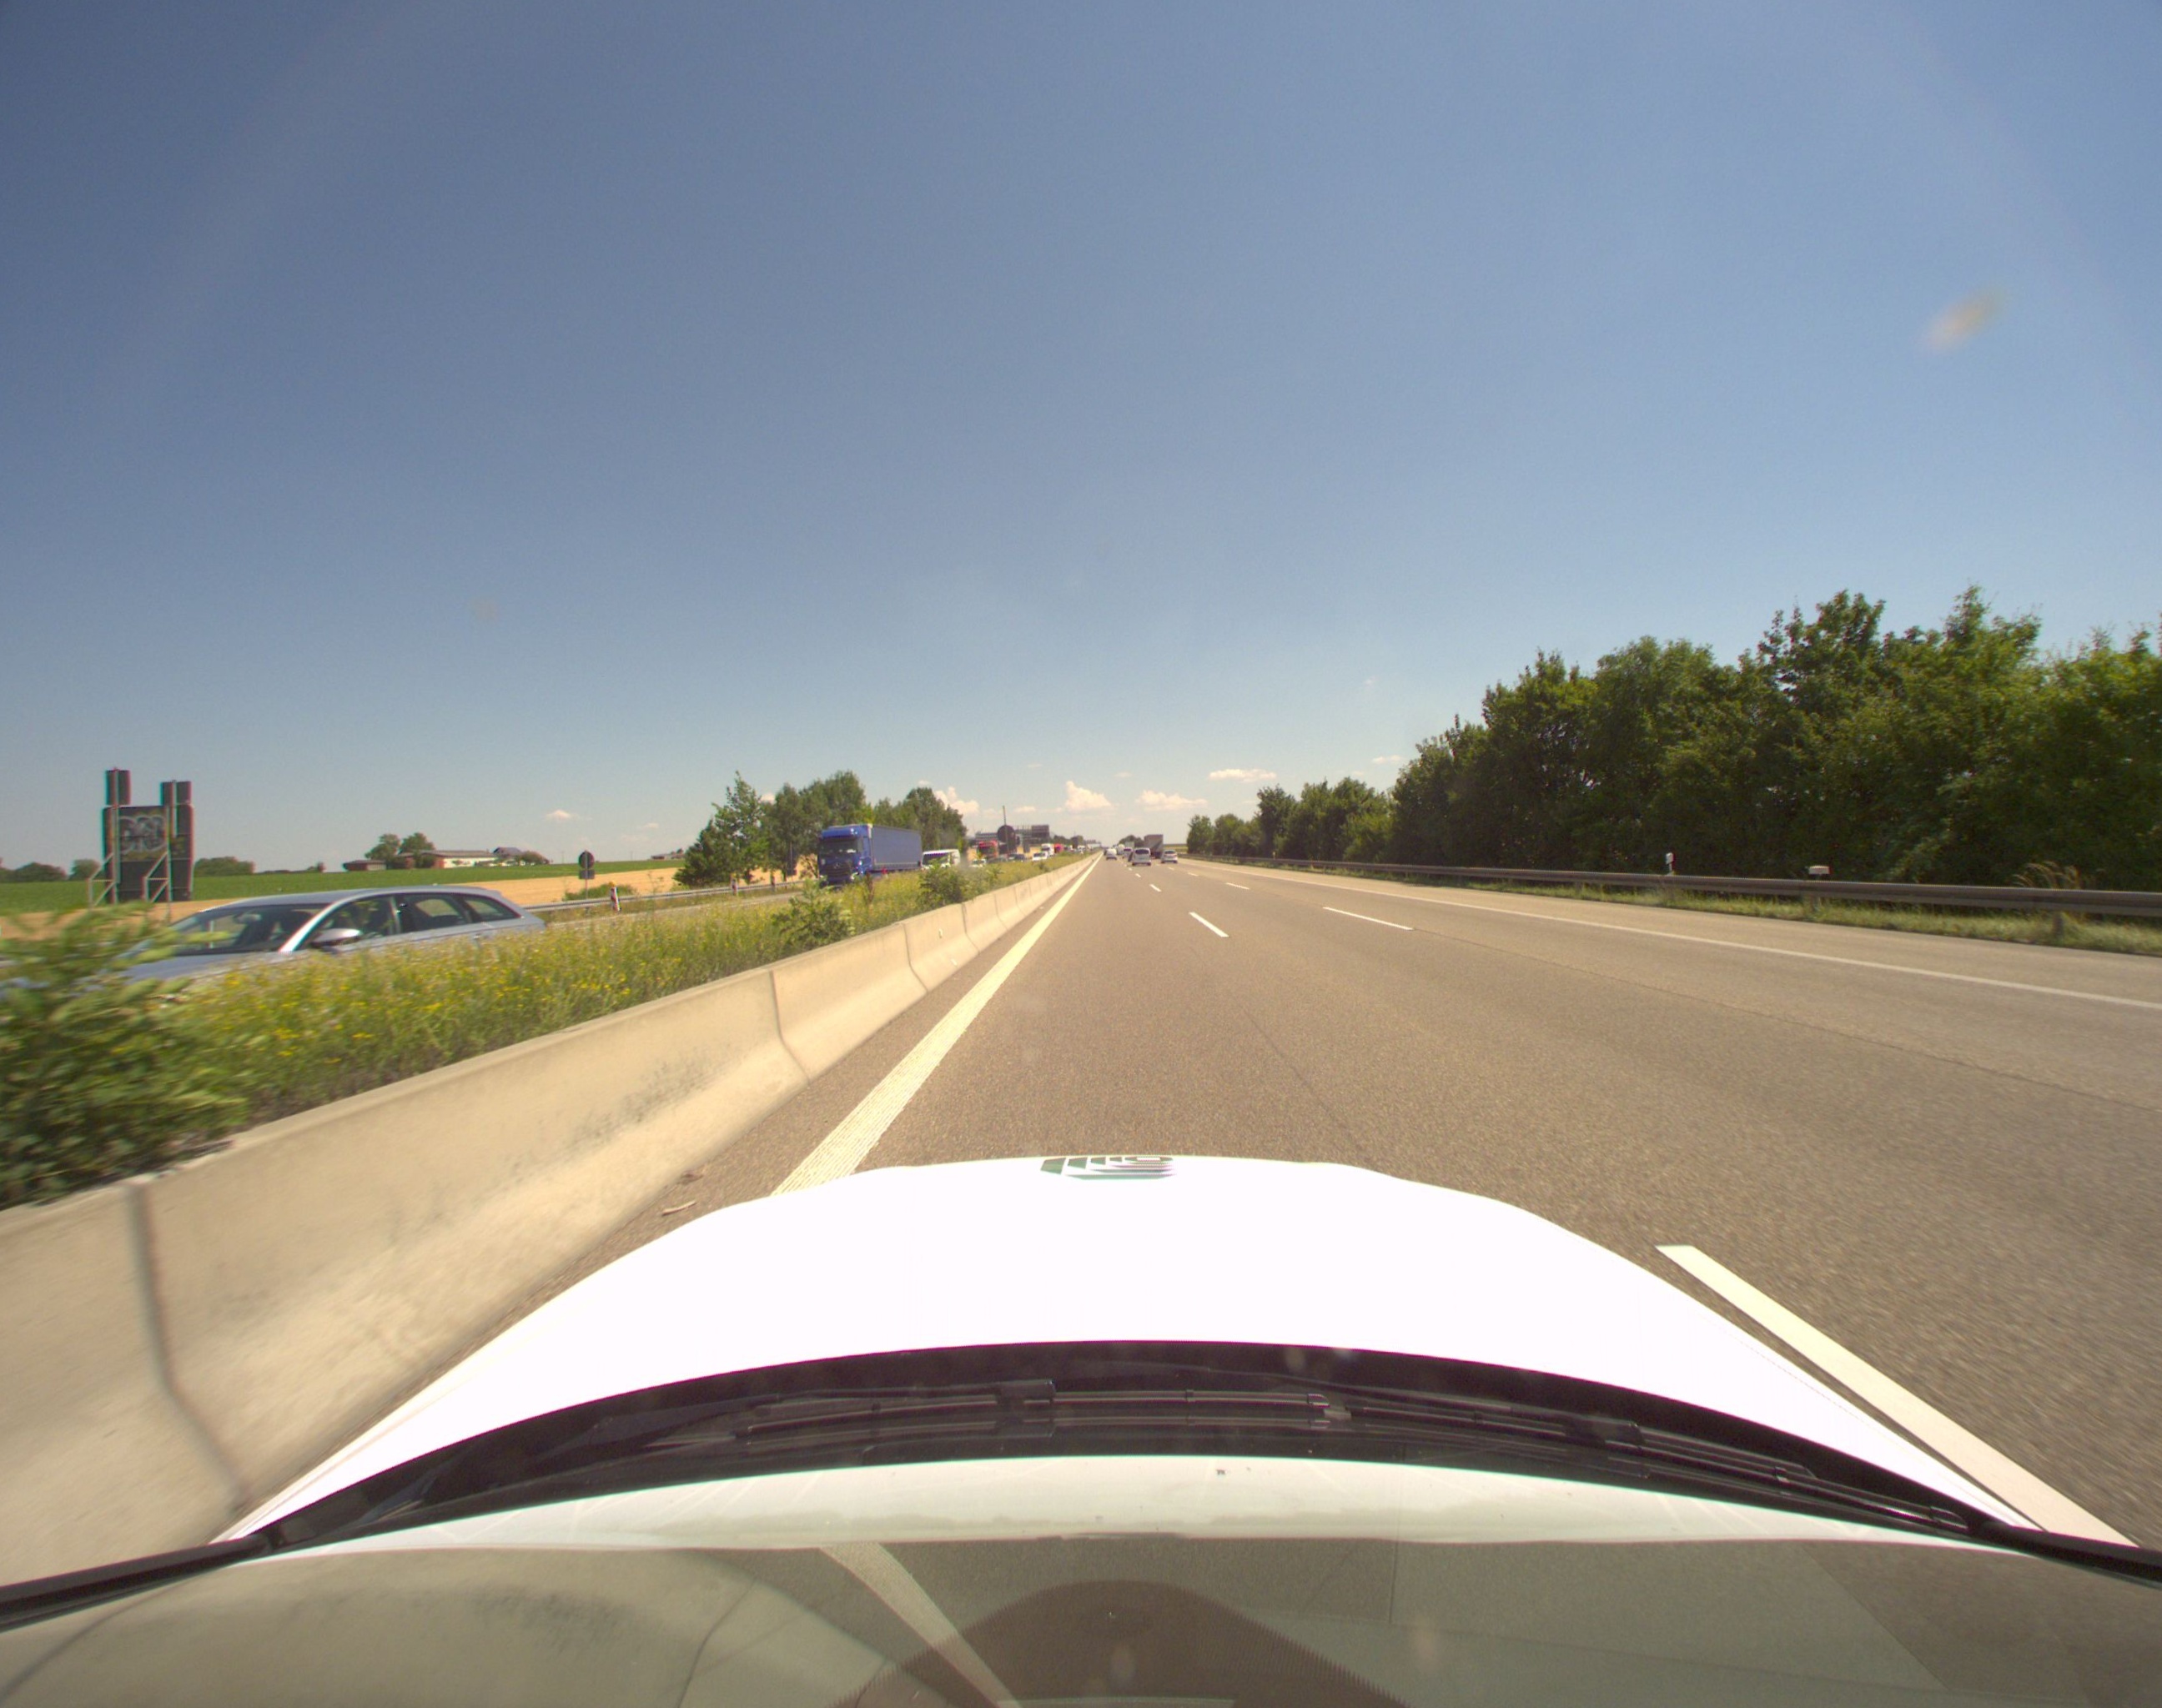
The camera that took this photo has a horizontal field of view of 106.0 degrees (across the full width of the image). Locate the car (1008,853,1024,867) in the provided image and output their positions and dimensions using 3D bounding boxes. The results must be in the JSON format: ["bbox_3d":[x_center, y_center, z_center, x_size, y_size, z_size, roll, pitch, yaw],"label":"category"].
[{"bbox_3d":[-8.732,0.792,110.277,1.688,1.727,4.262,-2,0,1],"label":"car"}]

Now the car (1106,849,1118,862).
[{"bbox_3d":[5.110,0.289,134.763,1.986,2.014,4.001,-1,-1,2],"label":"car"}]

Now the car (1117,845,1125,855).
[{"bbox_3d":[10.091,-1.022,205.779,1.767,2.392,4.001,-1,-1,2],"label":"car"}]

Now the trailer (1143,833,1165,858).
[{"bbox_3d":[12.287,-1.377,137.847,3.265,3.967,9.115,-1,-1,2],"label":"trailer"}]

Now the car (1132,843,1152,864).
[{"bbox_3d":[6.424,0.004,86.160,1.986,2.120,4.001,-1,-1,2],"label":"car"}]

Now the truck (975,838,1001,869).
[{"bbox_3d":[-12.544,-0.065,110.260,2.846,3.855,4.001,-3,0,1],"label":"truck"}]

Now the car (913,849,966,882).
[{"bbox_3d":[-9.508,0.744,55.275,2.175,2.013,5.768,-3,0,4],"label":"car"}]

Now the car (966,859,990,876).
[{"bbox_3d":[-9.517,1.210,75.787,1.611,1.464,3.865,-2,0,1],"label":"car"}]

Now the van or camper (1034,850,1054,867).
[{"bbox_3d":[-4.439,0.538,97.620,1.987,1.933,5.202,-2,0,1],"label":"van or camper"}]

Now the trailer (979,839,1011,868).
[{"bbox_3d":[-12.327,-0.093,118.336,2.845,3.855,12.190,-3,0,2],"label":"trailer"}]

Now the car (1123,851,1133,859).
[{"bbox_3d":[8.814,0.158,153.322,1.767,1.447,4.001,-1,-1,2],"label":"car"}]

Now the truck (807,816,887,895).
[{"bbox_3d":[-13.997,0.072,49.192,2.854,4.350,5.588,-3,0,2],"label":"truck"}]

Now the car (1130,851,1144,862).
[{"bbox_3d":[7.844,0.329,113.880,1.767,1.447,4.001,-1,-1,2],"label":"car"}]

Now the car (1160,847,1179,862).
[{"bbox_3d":[10.751,0.084,99.187,1.986,1.794,4.001,-1,-1,2],"label":"car"}]

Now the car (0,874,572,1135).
[{"bbox_3d":[-7.108,1.064,7.627,1.678,1.566,4.563,-3,0,1],"label":"car"}]

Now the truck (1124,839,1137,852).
[{"bbox_3d":[15.961,-2.787,261.487,3.802,3.905,9.583,-2,0,1],"label":"truck"}]

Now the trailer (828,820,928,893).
[{"bbox_3d":[-13.719,0.126,56.686,2.872,4.350,13.649,-3,0,2],"label":"trailer"}]
